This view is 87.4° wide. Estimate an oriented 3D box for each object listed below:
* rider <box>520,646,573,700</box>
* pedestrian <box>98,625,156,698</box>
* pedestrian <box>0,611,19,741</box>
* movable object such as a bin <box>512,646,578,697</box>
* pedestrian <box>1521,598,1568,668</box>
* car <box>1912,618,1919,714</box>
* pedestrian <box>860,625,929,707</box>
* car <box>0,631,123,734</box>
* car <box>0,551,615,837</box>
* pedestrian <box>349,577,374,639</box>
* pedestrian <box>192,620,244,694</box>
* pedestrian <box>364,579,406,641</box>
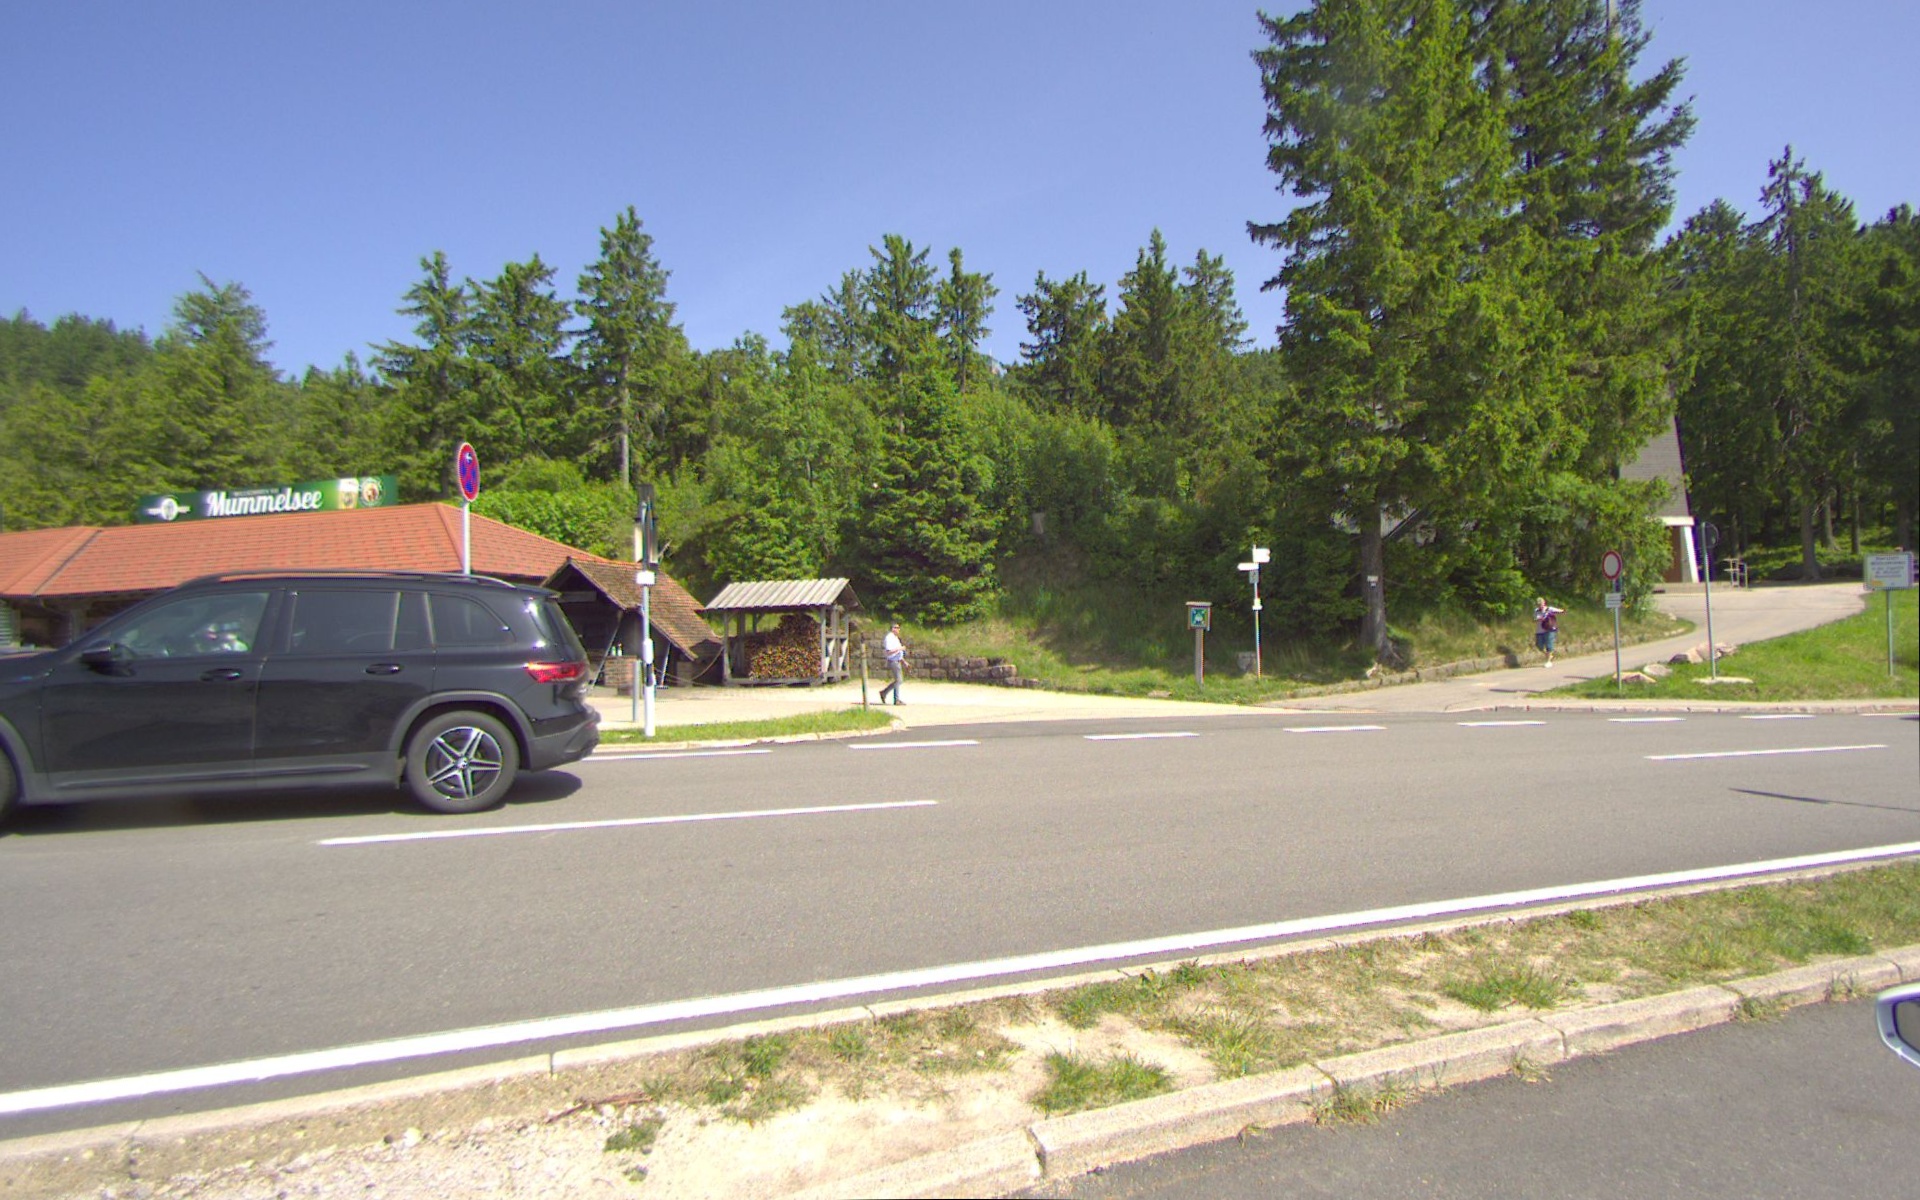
[{"bbox_3d":[-10.251,1.796,24.926,0.892,1.291,0.838,-1,-2,28],"label":"rider"},{"bbox_3d":[-23.819,1.741,28.735,0.945,2.040,0.857,0,-2,13],"label":"pedestrian"},{"bbox_3d":[-12.728,0.972,12.779,0.830,1.657,0.747,-1,-2,15],"label":"pedestrian"},{"bbox_3d":[-10.286,1.751,24.903,1.195,1.204,0.982,-1,-2,28],"label":"movable object such as a bin"},{"bbox_3d":[14.427,0.823,24.807,0.673,1.703,0.717,1,-2,-26],"label":"pedestrian"},{"bbox_3d":[17.381,1.043,15.560,4.640,1.494,1.878,1,-1,-18],"label":"car"},{"bbox_3d":[-1.428,1.424,21.964,1.142,1.720,0.976,-2,-2,33],"label":"pedestrian"},{"bbox_3d":[-17.741,1.469,18.355,4.014,1.738,1.921,-1,-3,19],"label":"car"},{"bbox_3d":[-4.912,0.600,7.237,4.500,1.669,1.990,1,-2,-22],"label":"car"},{"bbox_3d":[-17.479,0.245,29.353,0.548,1.760,0.668,1,-2,-27],"label":"pedestrian"},{"bbox_3d":[-20.895,1.591,28.306,0.908,2.040,0.724,0,-2,13],"label":"pedestrian"},{"bbox_3d":[-16.596,0.302,29.000,0.789,1.760,0.748,-1,-2,28],"label":"pedestrian"}]
